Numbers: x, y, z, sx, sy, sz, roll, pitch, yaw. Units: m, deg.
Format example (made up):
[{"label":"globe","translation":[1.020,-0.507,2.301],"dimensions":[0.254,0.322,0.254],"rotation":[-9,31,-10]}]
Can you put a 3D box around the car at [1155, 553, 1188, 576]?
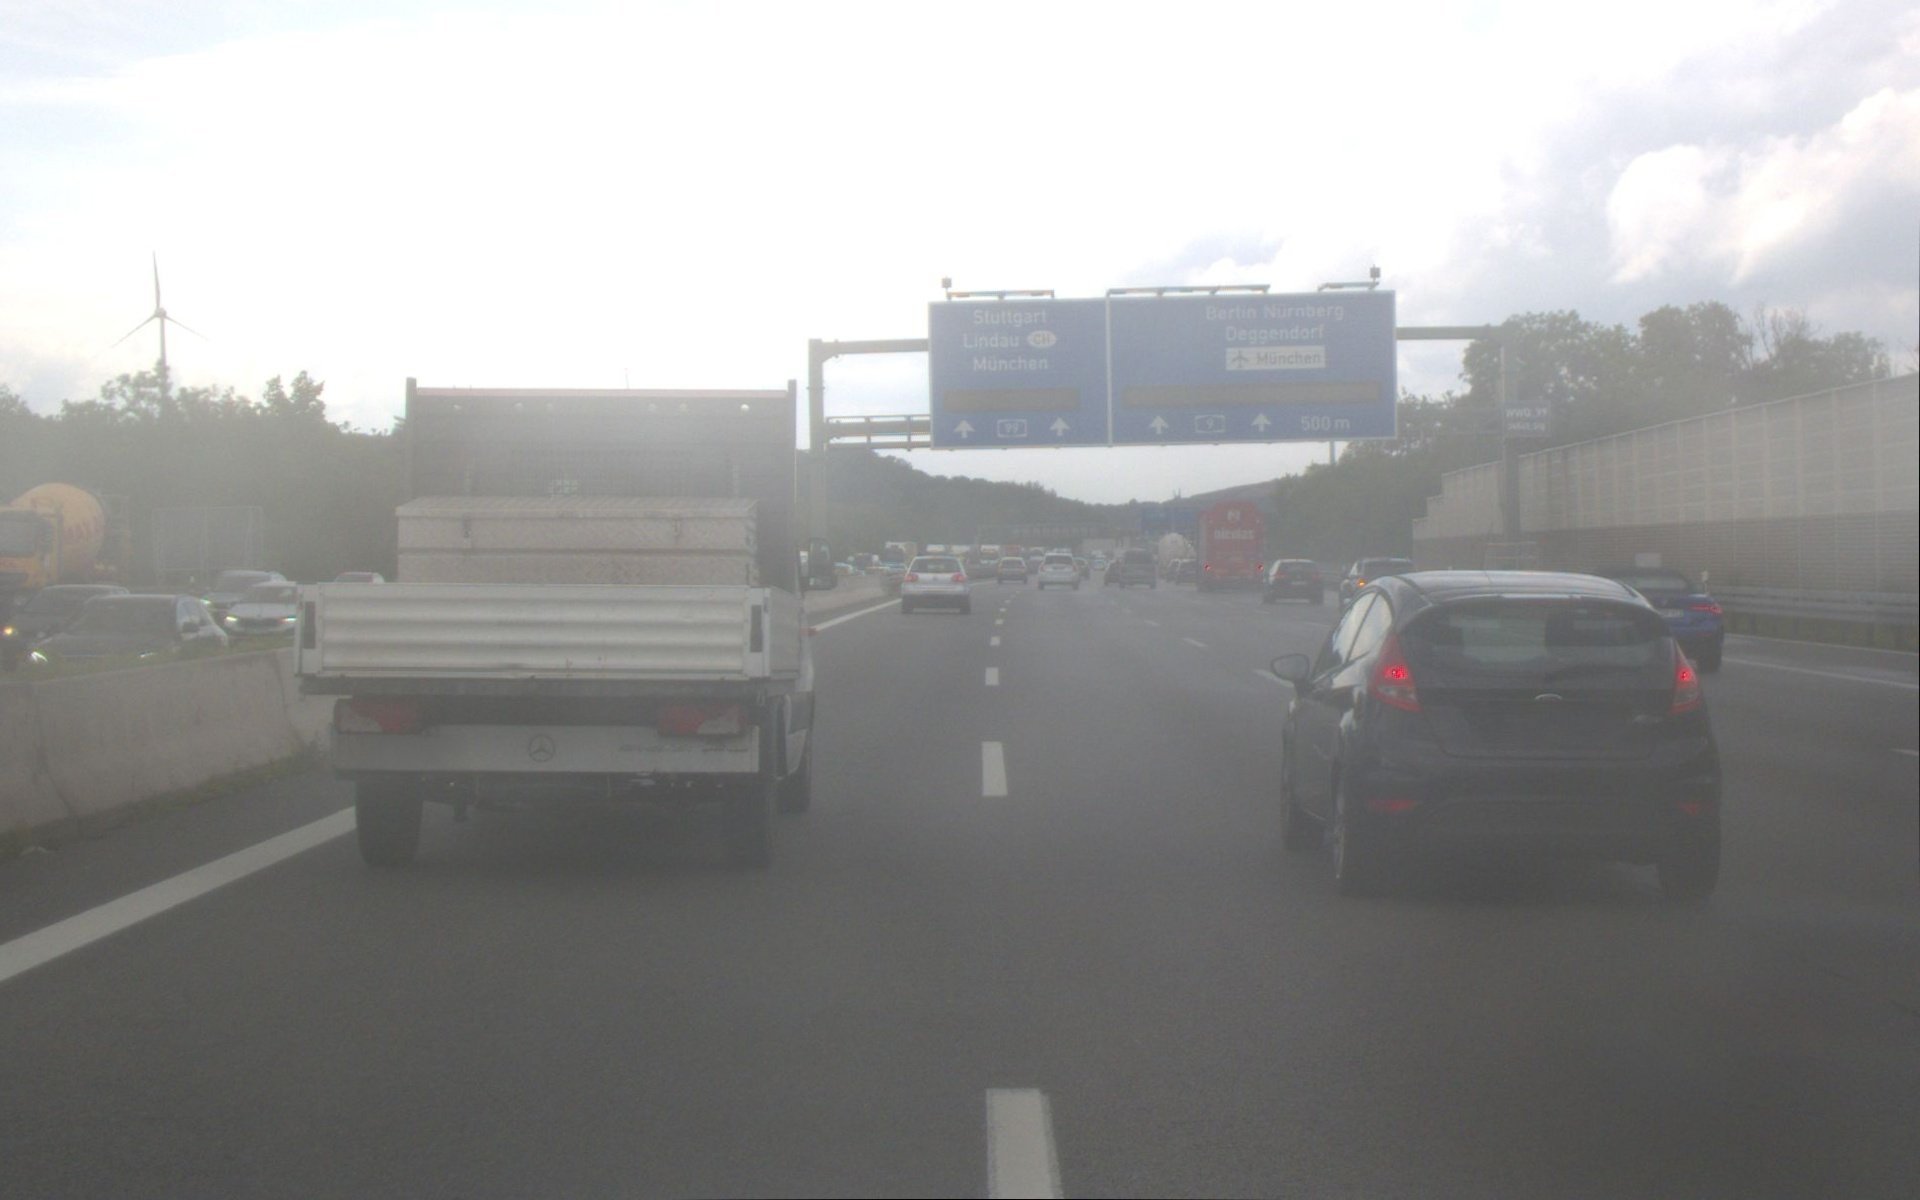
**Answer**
[{"label":"car","translation":[14.581,-2.451,237.177],"dimensions":[1.968,1.555,4.433],"rotation":[0,0,-1]}]

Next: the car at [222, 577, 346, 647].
[{"label":"car","translation":[-15.141,0.253,77.194],"dimensions":[1.723,1.465,4.849],"rotation":[1,1,1]}]

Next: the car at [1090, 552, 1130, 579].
[{"label":"car","translation":[8.821,-2.031,202.527],"dimensions":[1.968,1.555,4.433],"rotation":[0,0,-2]}]

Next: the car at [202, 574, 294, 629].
[{"label":"car","translation":[-22.034,0.024,106.610],"dimensions":[1.723,1.597,4.913],"rotation":[1,1,1]}]

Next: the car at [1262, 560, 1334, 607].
[{"label":"car","translation":[11.244,-0.559,114.681],"dimensions":[1.882,1.555,4.433],"rotation":[0,0,-1]}]

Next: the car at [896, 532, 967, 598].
[{"label":"car","translation":[-0.708,-0.937,88.982],"dimensions":[1.717,1.618,4.278],"rotation":[0,2,1]}]

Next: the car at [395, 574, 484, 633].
[{"label":"car","translation":[-14.819,0.087,98.152],"dimensions":[1.723,1.597,4.644],"rotation":[1,1,1]}]

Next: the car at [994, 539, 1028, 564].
[{"label":"car","translation":[3.135,-3.006,213.198],"dimensions":[1.968,1.555,4.433],"rotation":[0,0,-1]}]

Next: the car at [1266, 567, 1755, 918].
[{"label":"car","translation":[2.475,0.572,16.413],"dimensions":[1.717,1.412,4.278],"rotation":[0,1,1]}]

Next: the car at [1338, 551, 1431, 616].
[{"label":"car","translation":[10.353,-0.418,84.089],"dimensions":[1.883,1.537,4.433],"rotation":[0,0,2]}]

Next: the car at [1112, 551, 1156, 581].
[{"label":"car","translation":[9.095,-1.764,180.149],"dimensions":[1.968,1.555,4.433],"rotation":[0,0,-1]}]

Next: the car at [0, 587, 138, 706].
[{"label":"car","translation":[-12.429,0.570,45.495],"dimensions":[1.723,1.423,5.230],"rotation":[1,1,1]}]

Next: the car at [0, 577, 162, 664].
[{"label":"car","translation":[-15.483,0.333,60.471],"dimensions":[1.723,1.423,4.519],"rotation":[1,1,1]}]

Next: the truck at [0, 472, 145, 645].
[{"label":"truck","translation":[-22.759,-1.033,84.822],"dimensions":[2.915,4.000,9.583],"rotation":[0,1,1]}]

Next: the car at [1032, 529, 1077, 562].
[{"label":"car","translation":[4.541,-2.621,166.252],"dimensions":[1.968,1.555,4.433],"rotation":[0,0,-1]}]

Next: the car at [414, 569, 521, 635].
[{"label":"car","translation":[-11.162,0.028,78.199],"dimensions":[1.723,1.423,4.649],"rotation":[1,1,0]}]

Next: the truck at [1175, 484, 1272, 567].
[{"label":"truck","translation":[11.979,-3.439,157.521],"dimensions":[3.152,3.589,12.700],"rotation":[1,1,-1]}]

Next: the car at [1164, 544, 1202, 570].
[{"label":"car","translation":[13.797,-2.653,213.232],"dimensions":[1.968,1.555,4.433],"rotation":[0,0,-1]}]

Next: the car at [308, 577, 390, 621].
[{"label":"car","translation":[-21.874,-0.050,123.234],"dimensions":[1.982,1.489,4.913],"rotation":[0,0,1]}]

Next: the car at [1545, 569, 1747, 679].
[{"label":"car","translation":[9.337,0.296,47.086],"dimensions":[1.950,1.413,4.232],"rotation":[0,1,0]}]

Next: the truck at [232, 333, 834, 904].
[{"label":"truck","translation":[-1.971,-0.017,18.348],"dimensions":[2.307,2.431,7.149],"rotation":[1,2,0]}]
